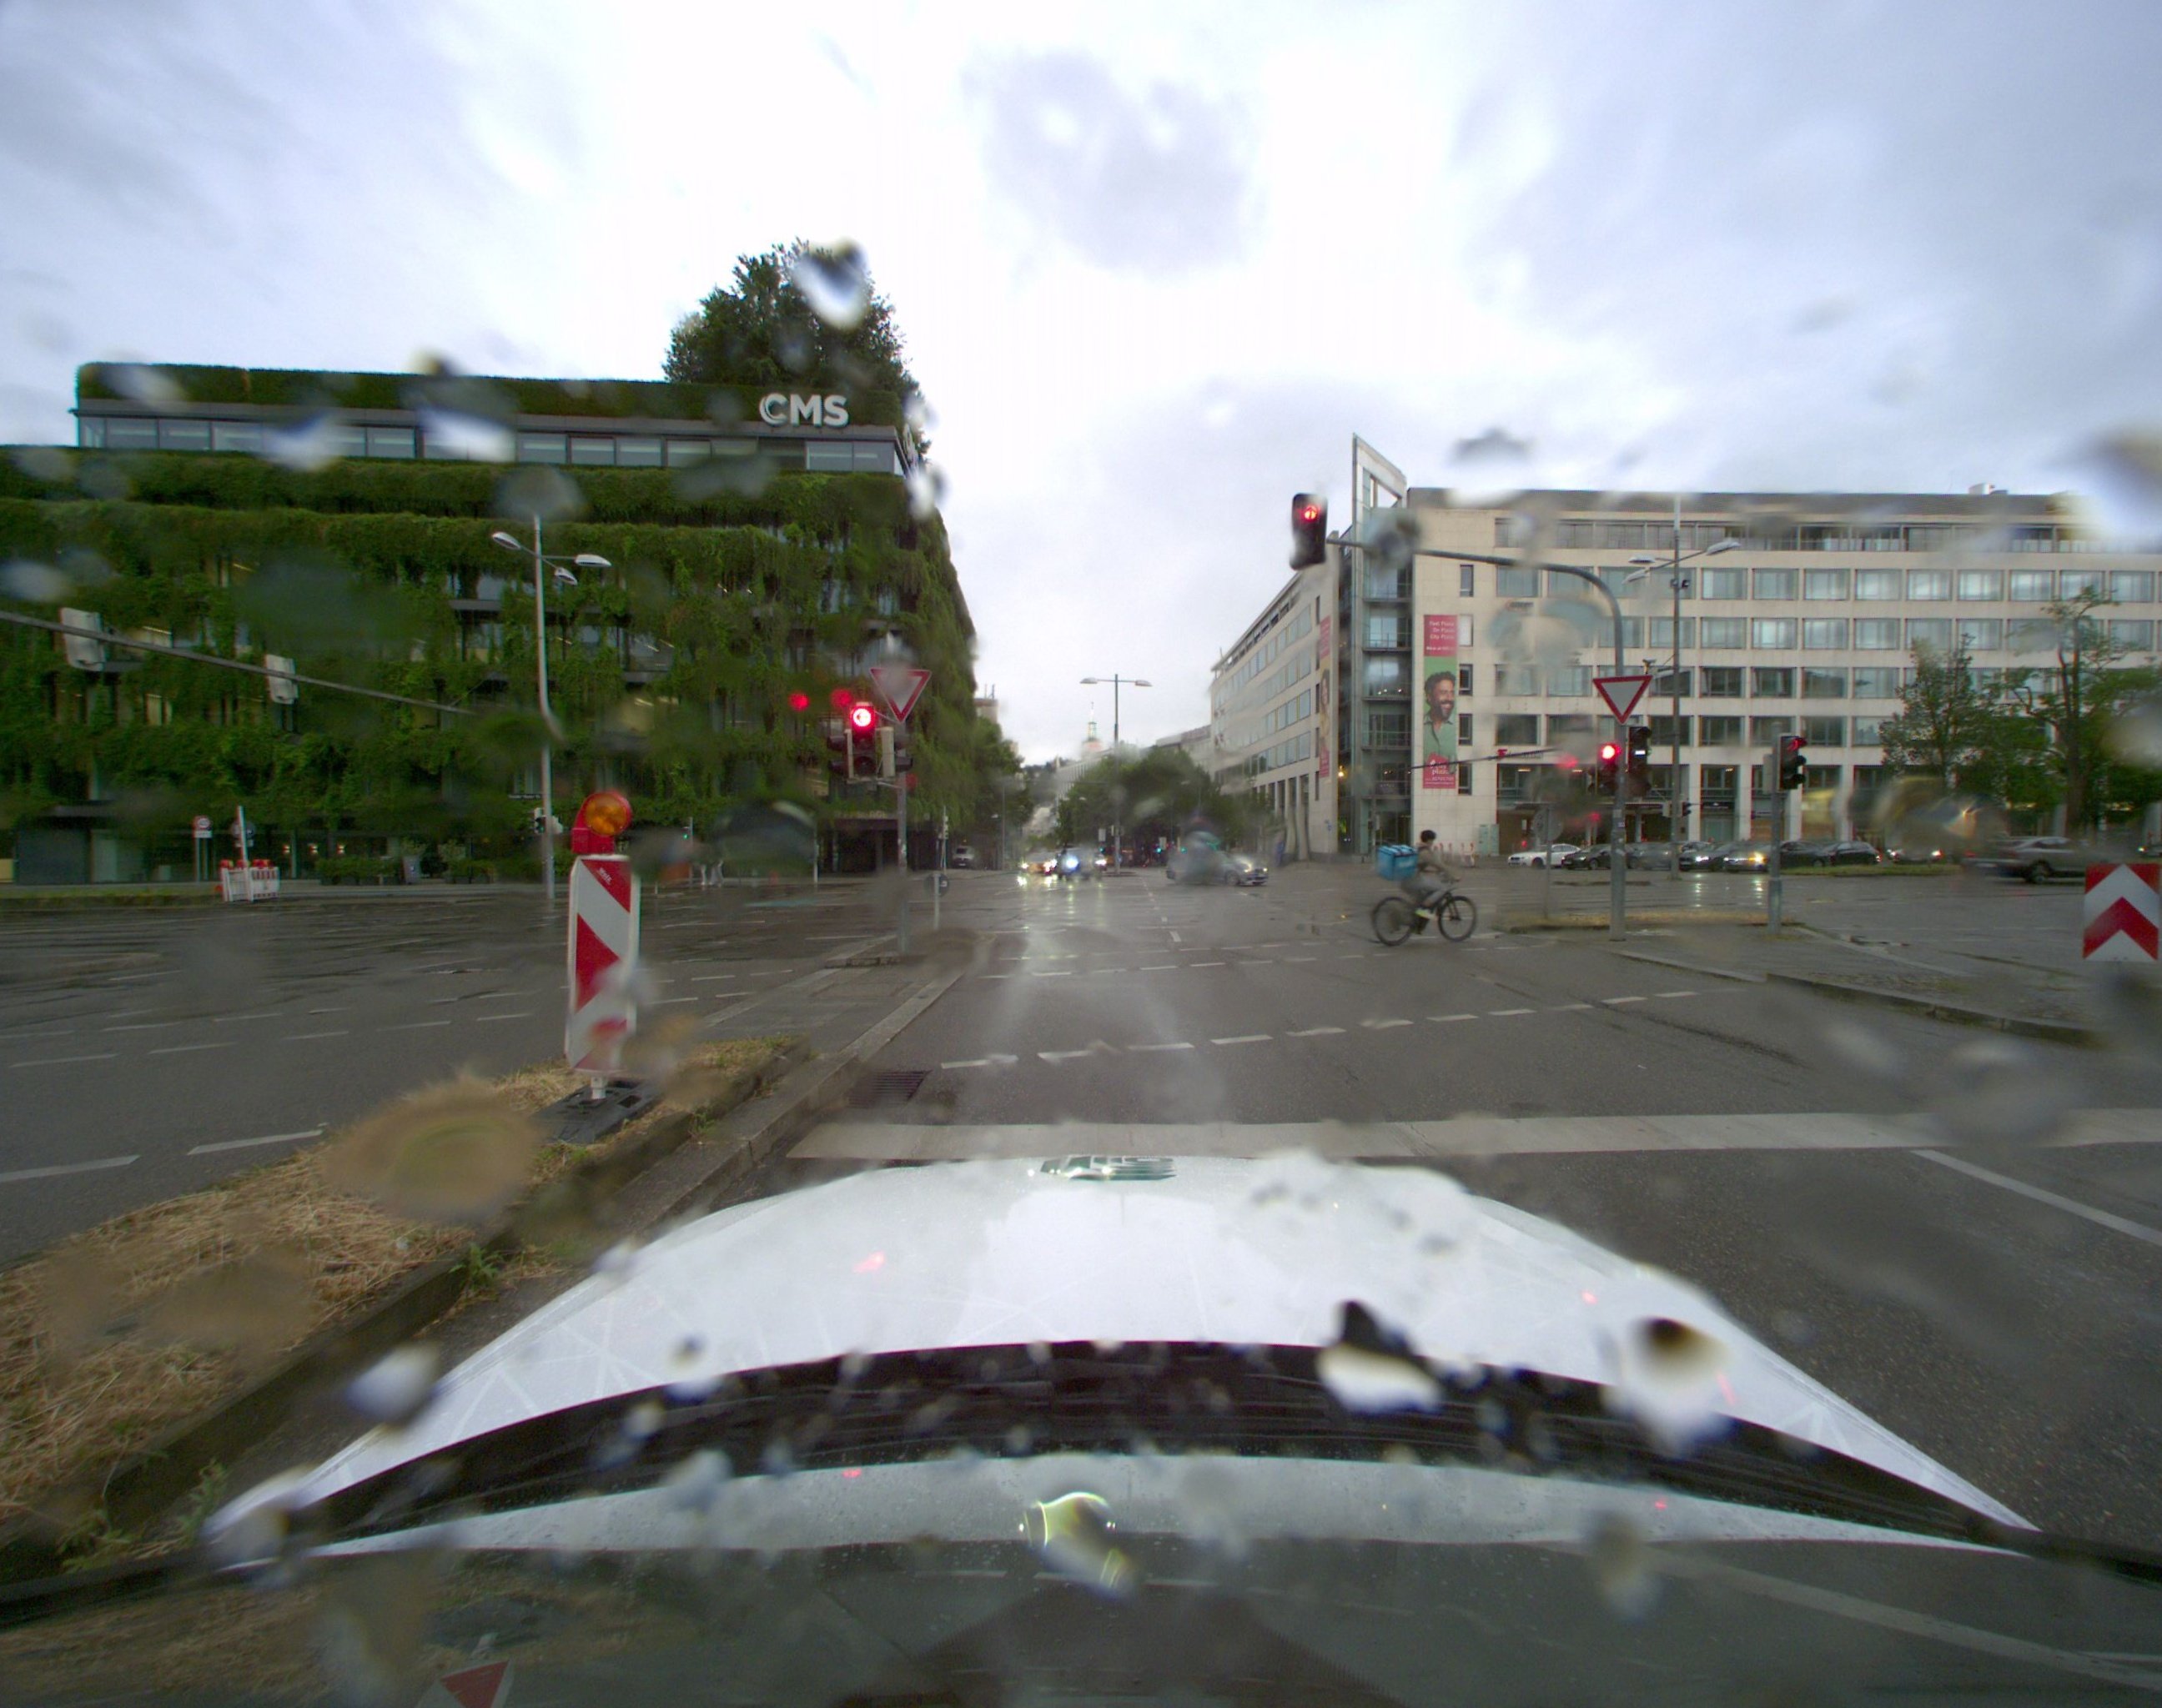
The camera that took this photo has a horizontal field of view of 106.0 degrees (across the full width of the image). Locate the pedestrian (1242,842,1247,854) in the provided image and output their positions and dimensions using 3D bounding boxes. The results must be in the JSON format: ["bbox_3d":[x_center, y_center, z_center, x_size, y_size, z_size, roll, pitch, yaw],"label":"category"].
[{"bbox_3d":[16.585,-0.640,82.498,0.354,1.173,0.412,-1,0,-22],"label":"pedestrian"}]

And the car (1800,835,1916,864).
[{"bbox_3d":[38.928,-0.246,40.820,4.637,1.348,1.919,-1,0,-12],"label":"car"}]

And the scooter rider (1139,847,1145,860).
[{"bbox_3d":[8.840,-0.078,118.041,0.759,1.774,0.796,-1,0,3],"label":"scooter rider"}]

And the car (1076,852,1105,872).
[{"bbox_3d":[0.704,0.597,64.551,1.989,1.443,4.551,-1,0,-3],"label":"car"}]

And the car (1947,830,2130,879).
[{"bbox_3d":[32.821,-0.005,27.983,4.538,1.550,1.994,-1,0,-9],"label":"car"}]

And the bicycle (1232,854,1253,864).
[{"bbox_3d":[14.396,0.450,72.576,1.786,0.934,0.476,-1,0,4],"label":"bicycle"}]

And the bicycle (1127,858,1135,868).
[{"bbox_3d":[5.998,1.070,98.560,0.789,1.117,2.255,-1,0,0],"label":"bicycle"}]

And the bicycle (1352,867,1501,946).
[{"bbox_3d":[5.415,0.784,12.764,2.152,1.103,0.842,-1,0,-20],"label":"bicycle"}]

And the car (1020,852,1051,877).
[{"bbox_3d":[-2.997,0.667,52.860,1.853,1.448,4.614,-1,1,-4],"label":"car"}]

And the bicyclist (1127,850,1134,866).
[{"bbox_3d":[5.976,0.489,98.609,0.789,1.975,1.113,-1,0,-2],"label":"bicyclist"}]

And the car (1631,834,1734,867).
[{"bbox_3d":[31.673,-0.190,42.909,4.455,1.598,1.991,-1,0,-13],"label":"car"}]

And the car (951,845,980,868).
[{"bbox_3d":[-9.709,0.189,68.717,1.989,1.895,4.461,-1,0,-2],"label":"car"}]

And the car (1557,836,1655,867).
[{"bbox_3d":[29.205,-0.135,45.386,4.451,1.598,1.993,-1,0,-10],"label":"car"}]

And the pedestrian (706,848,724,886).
[{"bbox_3d":[-17.420,0.623,38.783,0.744,1.758,0.969,-1,0,-22],"label":"pedestrian"}]

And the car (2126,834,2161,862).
[{"bbox_3d":[65.173,-0.394,48.534,4.180,1.623,1.727,-1,1,-8],"label":"car"}]

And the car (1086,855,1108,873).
[{"bbox_3d":[1.526,0.922,78.848,1.988,1.529,4.554,-1,1,-1],"label":"car"}]

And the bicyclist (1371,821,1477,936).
[{"bbox_3d":[5.351,0.358,12.738,1.299,1.704,0.842,-1,0,-20],"label":"bicyclist"}]

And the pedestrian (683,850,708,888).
[{"bbox_3d":[-18.203,0.706,38.471,0.939,1.758,1.163,-1,0,-22],"label":"pedestrian"}]

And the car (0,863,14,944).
[{"bbox_3d":[-27.143,1.195,18.221,3.451,1.922,1.992,-1,0,-11],"label":"car"}]

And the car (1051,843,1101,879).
[{"bbox_3d":[-0.300,0.314,42.259,1.963,1.655,4.351,-2,1,-9],"label":"car"}]

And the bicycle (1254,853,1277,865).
[{"bbox_3d":[14.841,0.388,65.639,1.778,0.934,0.478,-1,0,43],"label":"bicycle"}]

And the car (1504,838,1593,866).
[{"bbox_3d":[27.931,-0.140,48.717,4.456,1.598,1.991,-1,0,-14],"label":"car"}]

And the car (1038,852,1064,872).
[{"bbox_3d":[-2.371,0.593,64.360,1.853,1.448,4.614,-1,1,-4],"label":"car"}]

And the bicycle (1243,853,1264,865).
[{"bbox_3d":[14.964,0.434,70.713,1.786,0.934,0.476,-1,0,4],"label":"bicycle"}]

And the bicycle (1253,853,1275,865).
[{"bbox_3d":[14.903,0.428,66.383,1.778,0.934,0.478,-1,0,43],"label":"bicycle"}]

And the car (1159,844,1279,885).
[{"bbox_3d":[5.480,0.376,32.787,2.012,1.486,4.410,-3,2,-43],"label":"car"}]

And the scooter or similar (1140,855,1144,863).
[{"bbox_3d":[8.840,0.722,118.043,0.554,1.007,1.825,-1,0,3],"label":"scooter or similar"}]

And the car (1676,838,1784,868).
[{"bbox_3d":[31.352,-0.064,39.389,4.455,1.348,1.715,-1,0,-13],"label":"car"}]

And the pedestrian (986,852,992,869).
[{"bbox_3d":[-8.180,0.583,72.609,0.435,1.524,0.547,-1,0,-3],"label":"pedestrian"}]

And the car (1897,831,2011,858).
[{"bbox_3d":[45.210,-0.483,42.214,4.637,1.348,1.919,-1,0,-12],"label":"car"}]

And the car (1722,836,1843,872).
[{"bbox_3d":[31.171,-0.008,36.208,4.452,1.464,1.716,-1,0,-11],"label":"car"}]

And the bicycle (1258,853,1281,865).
[{"bbox_3d":[14.972,0.382,64.670,1.778,0.934,0.478,-1,0,43],"label":"bicycle"}]

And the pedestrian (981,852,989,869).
[{"bbox_3d":[-8.556,0.578,72.525,0.605,1.524,0.587,-1,0,-3],"label":"pedestrian"}]
